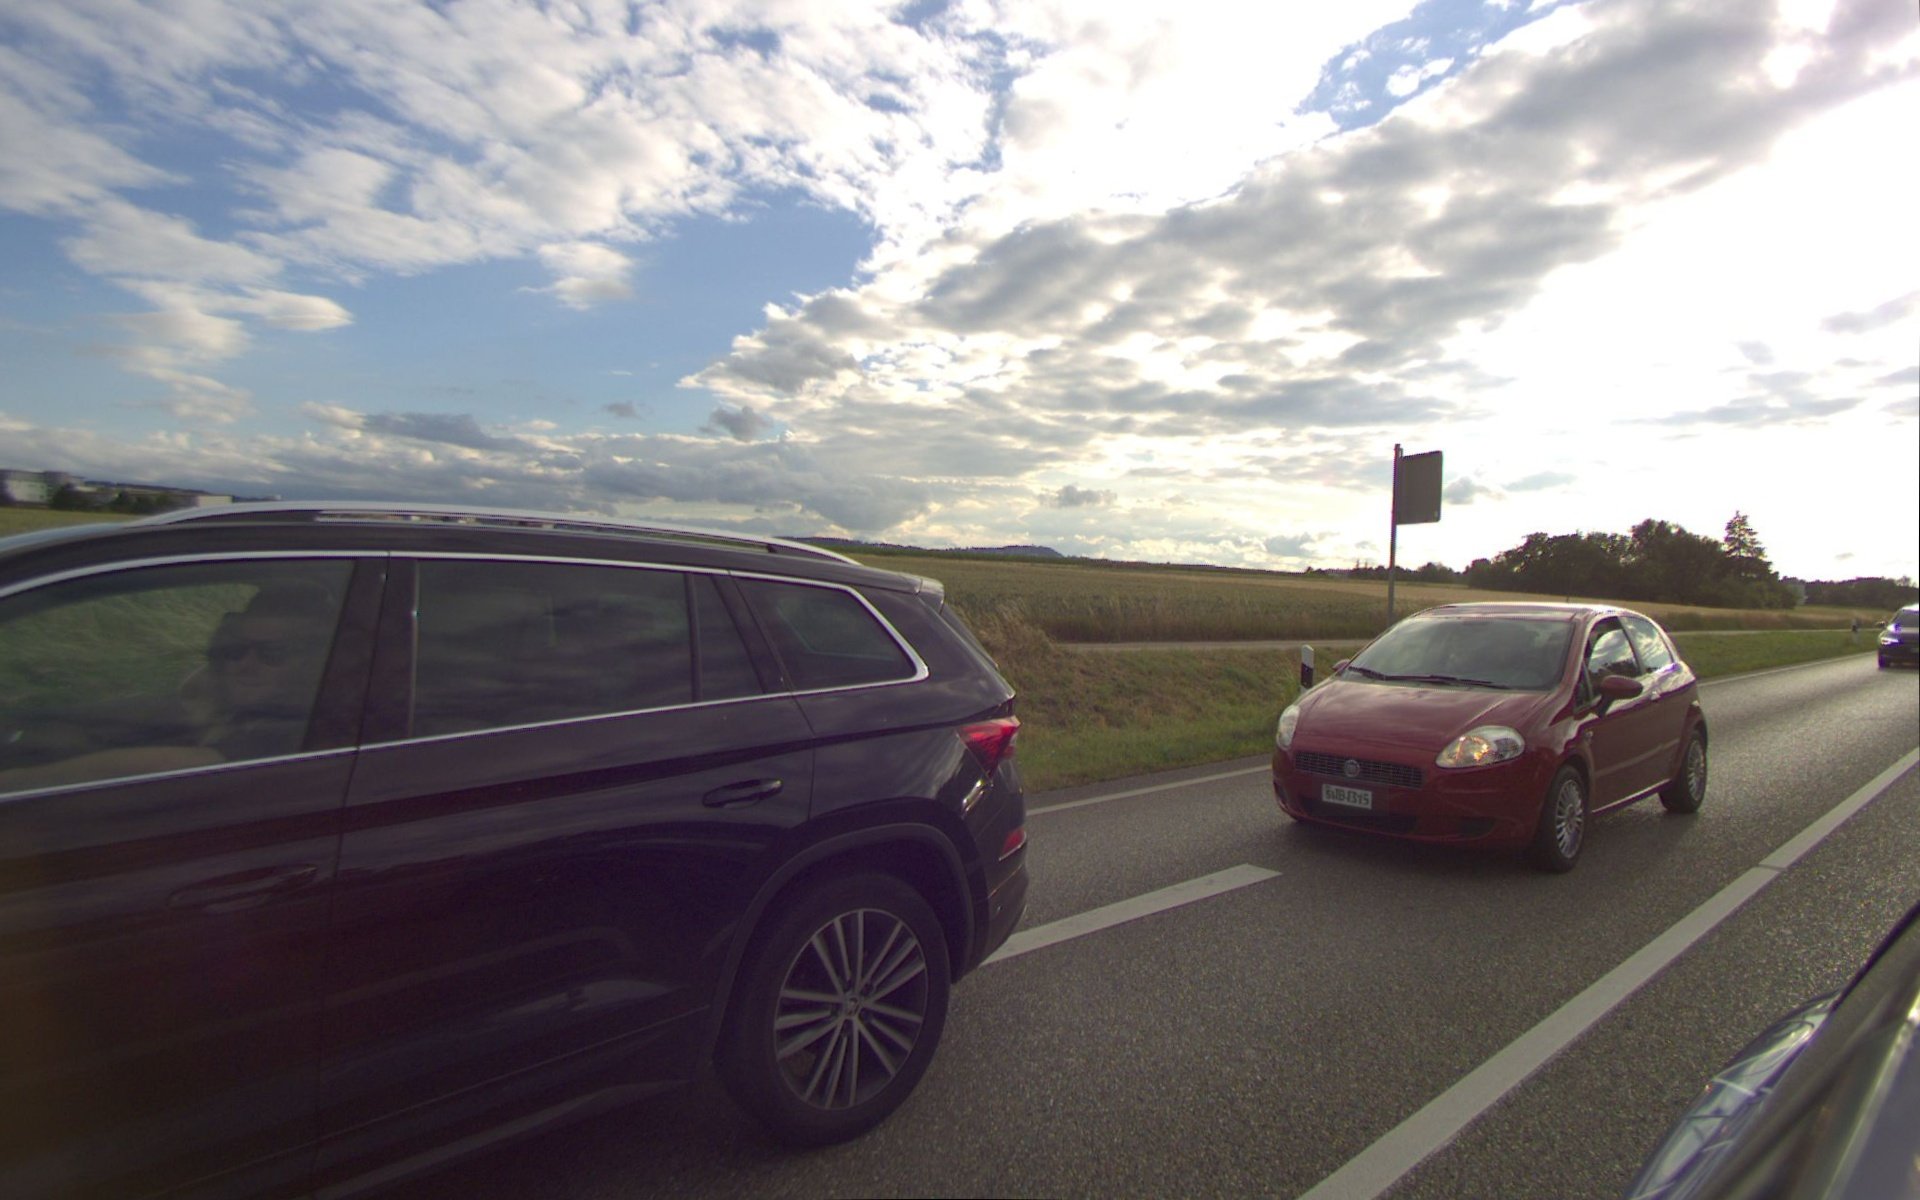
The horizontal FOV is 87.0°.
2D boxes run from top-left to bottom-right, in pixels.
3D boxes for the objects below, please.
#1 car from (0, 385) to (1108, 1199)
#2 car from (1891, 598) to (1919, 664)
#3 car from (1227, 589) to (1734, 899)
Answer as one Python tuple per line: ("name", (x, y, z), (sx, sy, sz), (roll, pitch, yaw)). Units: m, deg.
("car", (-1.812, 0.526, 2.503), (4.477, 1.730, 1.839), (-1, 0, -41))
("car", (23.584, 0.696, 23.994), (3.962, 1.475, 1.797), (0, 0, -41))
("car", (3.631, 0.676, 6.771), (3.840, 1.475, 1.710), (-1, 0, -41))
